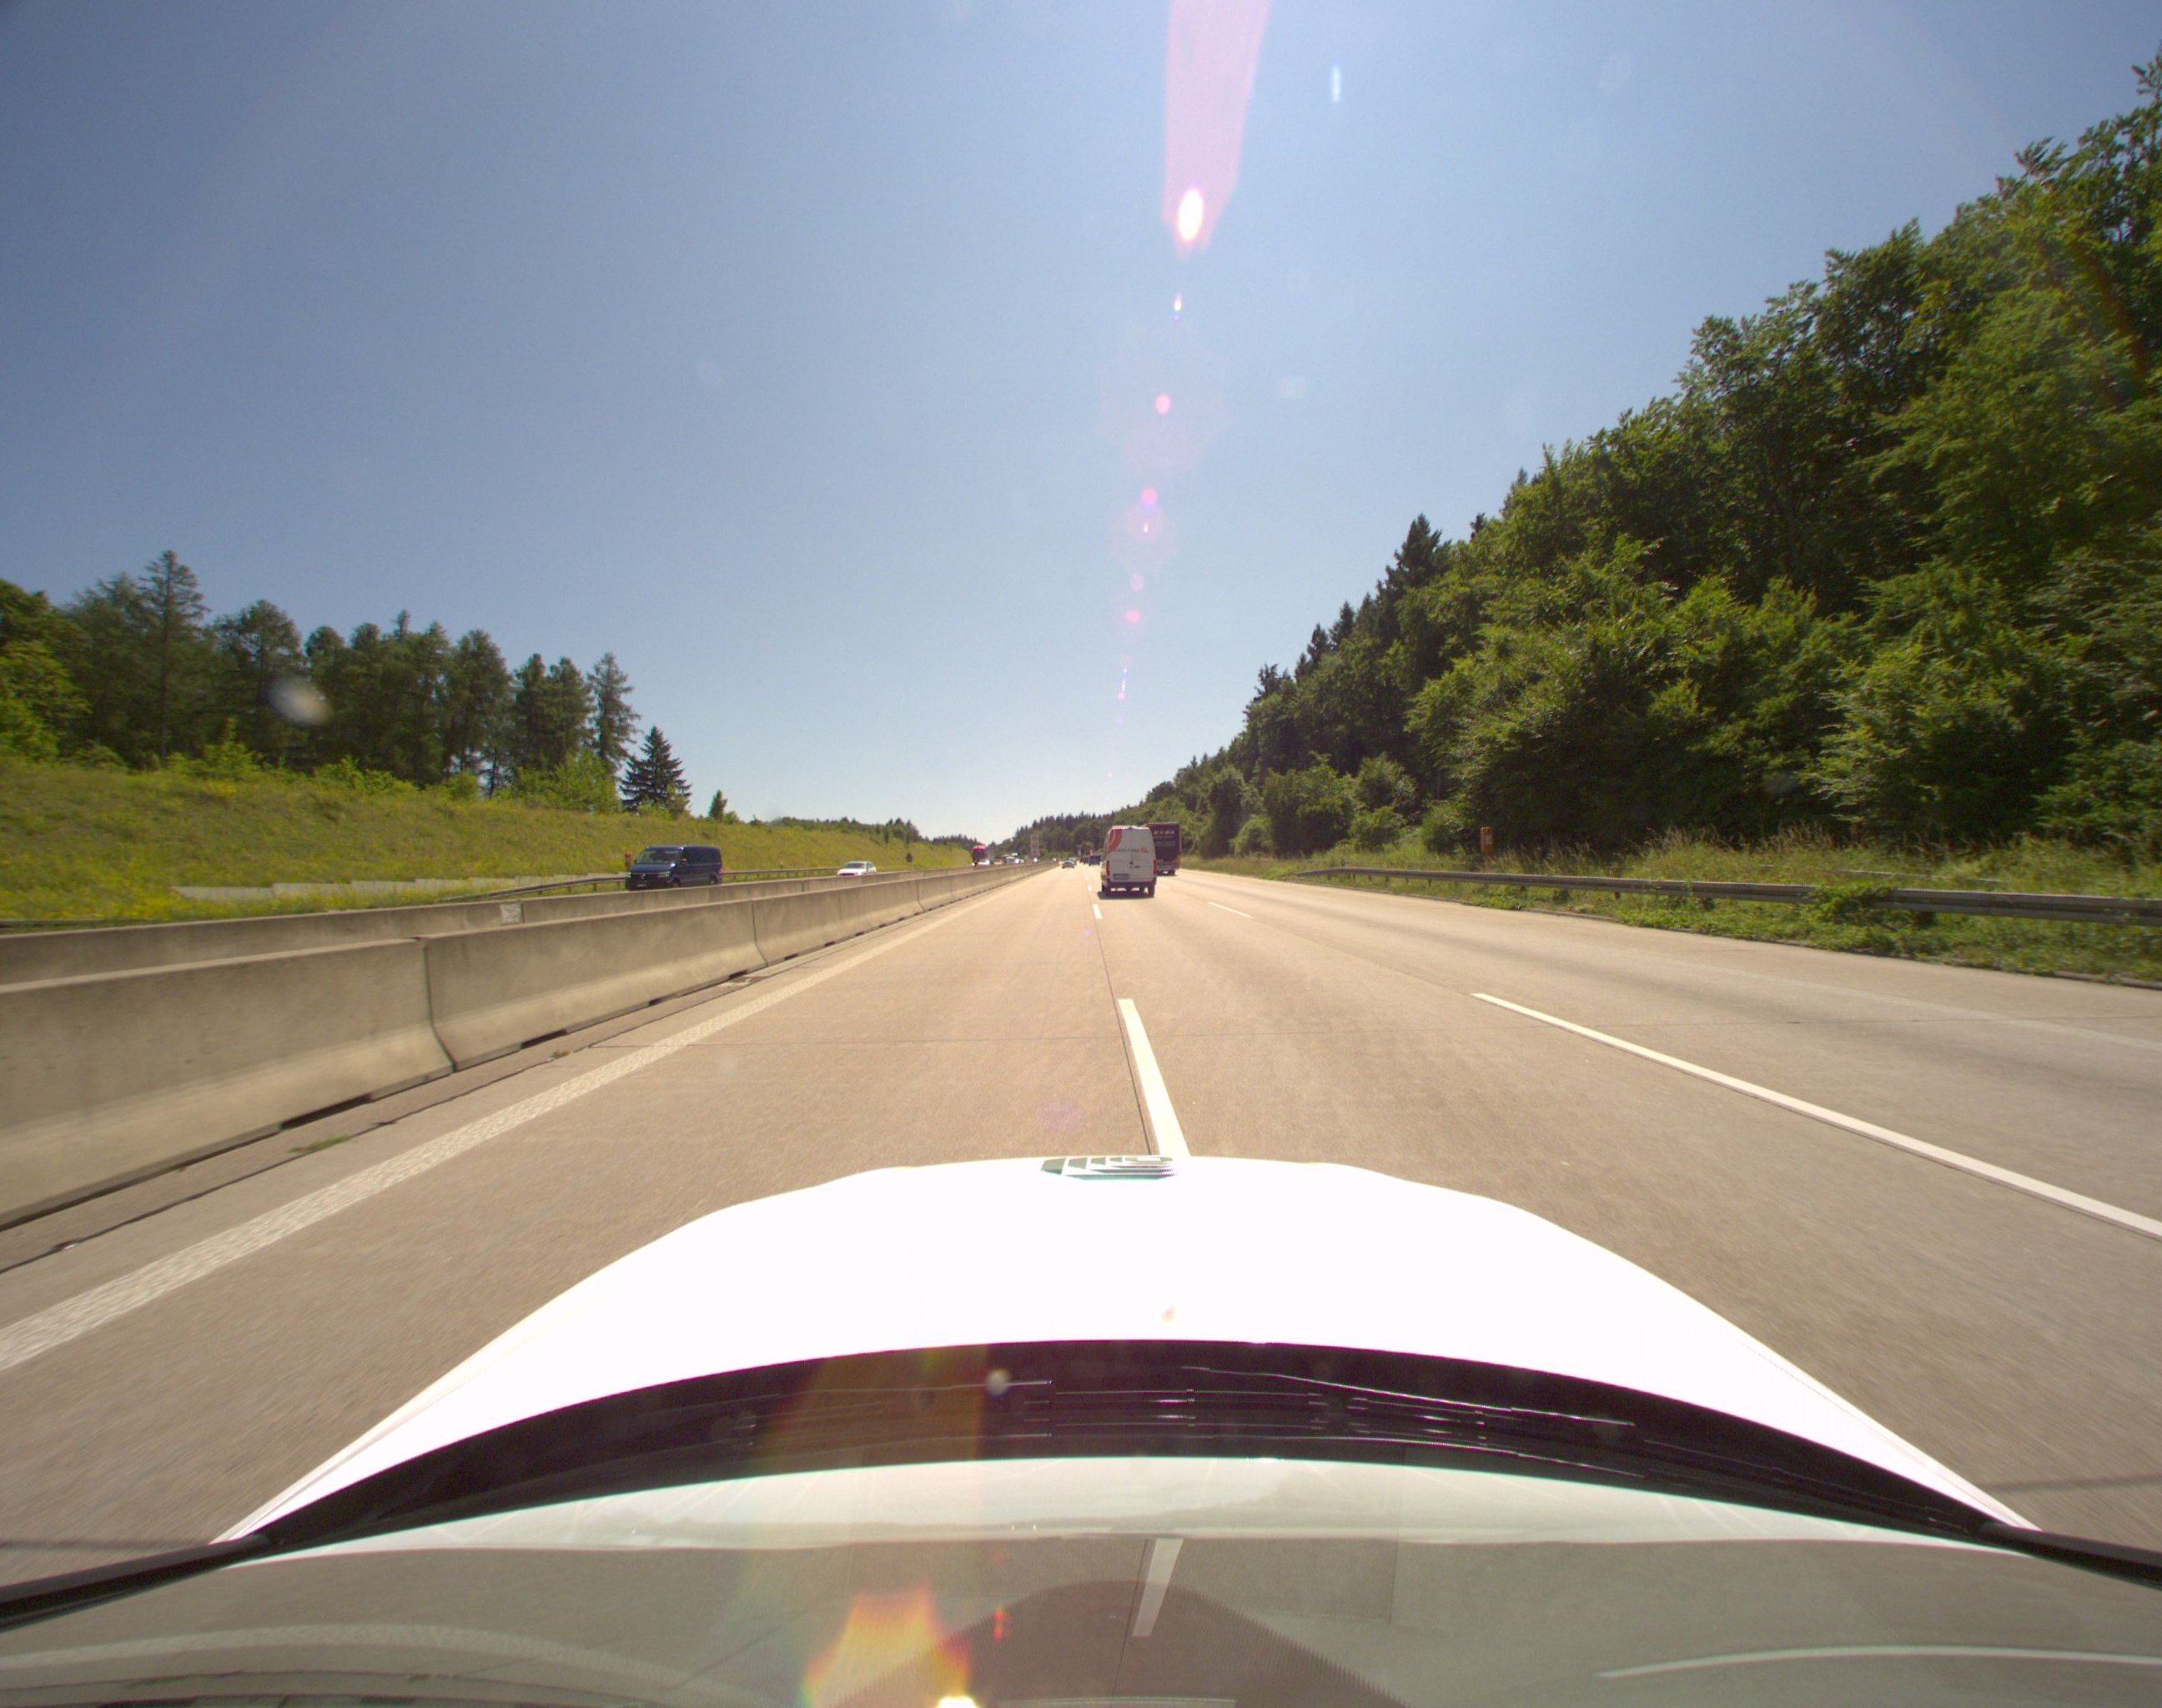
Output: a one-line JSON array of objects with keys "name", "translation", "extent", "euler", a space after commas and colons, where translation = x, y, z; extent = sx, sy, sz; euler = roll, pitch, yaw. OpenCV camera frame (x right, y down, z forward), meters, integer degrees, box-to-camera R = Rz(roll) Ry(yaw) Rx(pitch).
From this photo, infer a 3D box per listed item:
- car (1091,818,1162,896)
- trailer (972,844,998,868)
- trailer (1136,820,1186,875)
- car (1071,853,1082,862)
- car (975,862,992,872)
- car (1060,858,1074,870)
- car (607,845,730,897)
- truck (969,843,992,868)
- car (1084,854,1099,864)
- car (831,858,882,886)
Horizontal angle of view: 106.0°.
[{"name": "car", "translation": [1.739, 0.098, 33.238], "extent": [2.221, 2.844, 5.448], "euler": [-2, 0, -3]}, {"name": "trailer", "translation": [-18.468, 0.470, 157.946], "extent": [3.376, 4.431, 13.921], "euler": [-1, -1, 0]}, {"name": "trailer", "translation": [6.425, -0.471, 66.749], "extent": [3.124, 4.017, 9.087], "euler": [-3, 0, 0]}, {"name": "car", "translation": [-0.861, 0.684, 154.445], "extent": [1.989, 1.684, 3.996], "euler": [-1, -1, -2]}, {"name": "car", "translation": [-14.521, 1.924, 121.545], "extent": [1.987, 1.564, 3.999], "euler": [-1, 0, 0]}, {"name": "car", "translation": [-2.067, 1.454, 119.470], "extent": [1.987, 1.684, 3.998], "euler": [-1, -1, -1]}, {"name": "car", "translation": [-19.199, 0.731, 38.344], "extent": [2.473, 2.210, 6.458], "euler": [-1, 0, 0]}, {"name": "truck", "translation": [-18.475, 0.353, 150.394], "extent": [3.376, 4.431, 6.799], "euler": [-1, -1, 0]}, {"name": "car", "translation": [1.747, 0.841, 138.197], "extent": [1.992, 1.684, 3.988], "euler": [-1, -1, -8]}, {"name": "car", "translation": [-14.871, 1.155, 54.265], "extent": [2.002, 1.807, 4.853], "euler": [-1, 0, 0]}]
